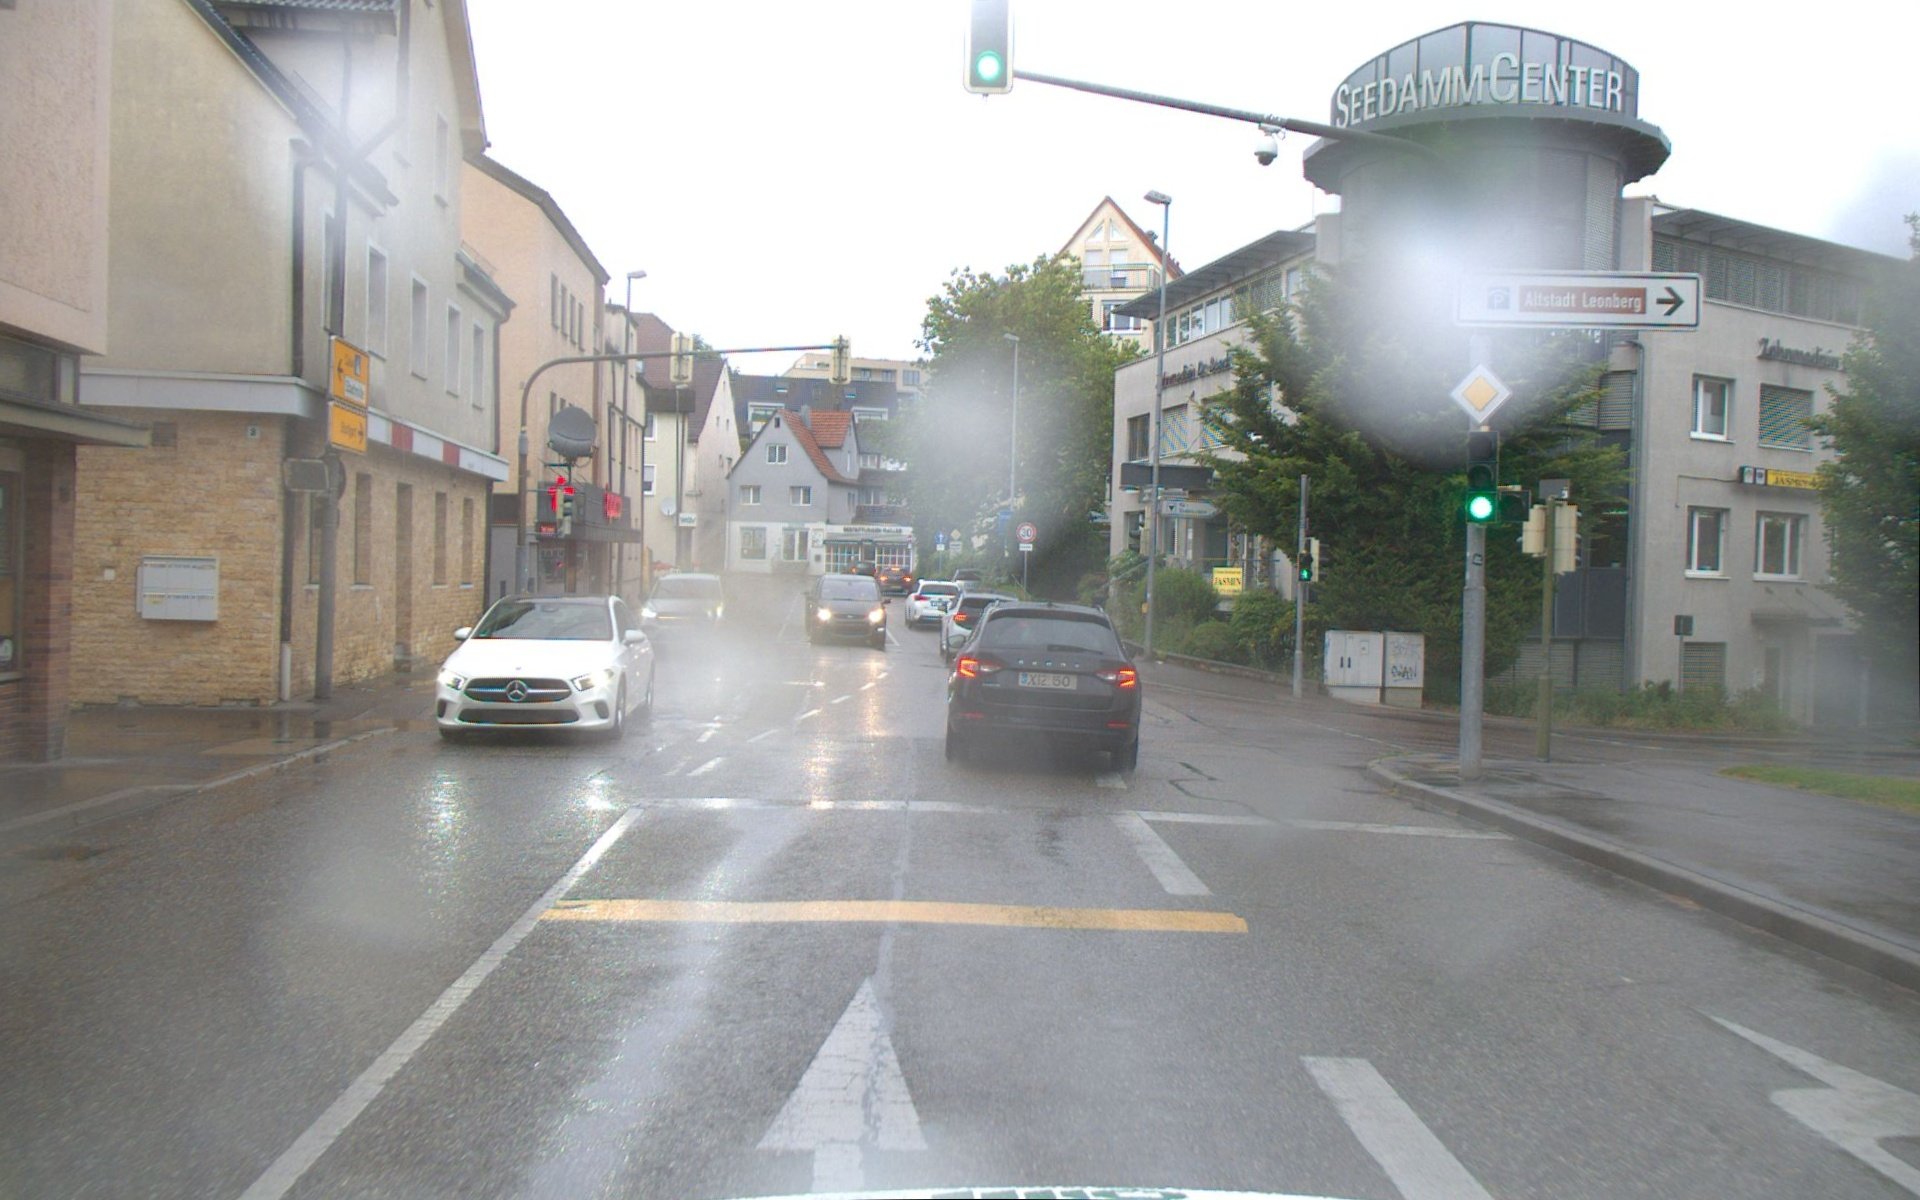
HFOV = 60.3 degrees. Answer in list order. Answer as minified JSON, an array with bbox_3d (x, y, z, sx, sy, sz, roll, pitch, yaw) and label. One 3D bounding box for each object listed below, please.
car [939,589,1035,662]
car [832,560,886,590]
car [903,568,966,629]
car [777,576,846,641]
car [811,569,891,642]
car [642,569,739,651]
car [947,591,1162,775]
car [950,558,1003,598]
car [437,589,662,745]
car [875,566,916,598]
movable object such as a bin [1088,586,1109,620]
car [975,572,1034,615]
[{"bbox_3d":[0.510,0.495,35.168,1.781,1.383,3.988,2,1,-2],"label":"car"},{"bbox_3d":[-6.070,-1.485,98.988,1.872,1.711,3.653,1,0,-29],"label":"car"},{"bbox_3d":[-0.814,-0.015,50.457,1.693,1.618,4.181,3,-2,-3],"label":"car"},{"bbox_3d":[-4.093,0.192,45.404,1.750,1.590,4.397,2,1,-6],"label":"car"},{"bbox_3d":[-2.727,0.084,40.643,1.750,1.590,4.397,2,1,-6],"label":"car"},{"bbox_3d":[-5.700,0.164,35.383,1.750,1.587,4.332,1,1,-6],"label":"car"},{"bbox_3d":[0.802,0.703,16.371,1.746,1.509,4.245,2,1,-1],"label":"car"},{"bbox_3d":[0.690,-0.955,71.940,1.817,1.670,3.865,1,1,-7],"label":"car"},{"bbox_3d":[-4.197,0.610,17.502,1.657,1.397,4.110,0,1,-5],"label":"car"},{"bbox_3d":[-3.343,-0.908,84.642,1.856,1.618,3.683,1,0,-6],"label":"car"},{"bbox_3d":[4.252,0.086,50.865,0.501,0.961,0.603,5,5,13],"label":"movable object such as a bin"},{"bbox_3d":[1.743,-0.288,66.103,1.817,1.670,3.533,0,1,-7],"label":"car"}]
